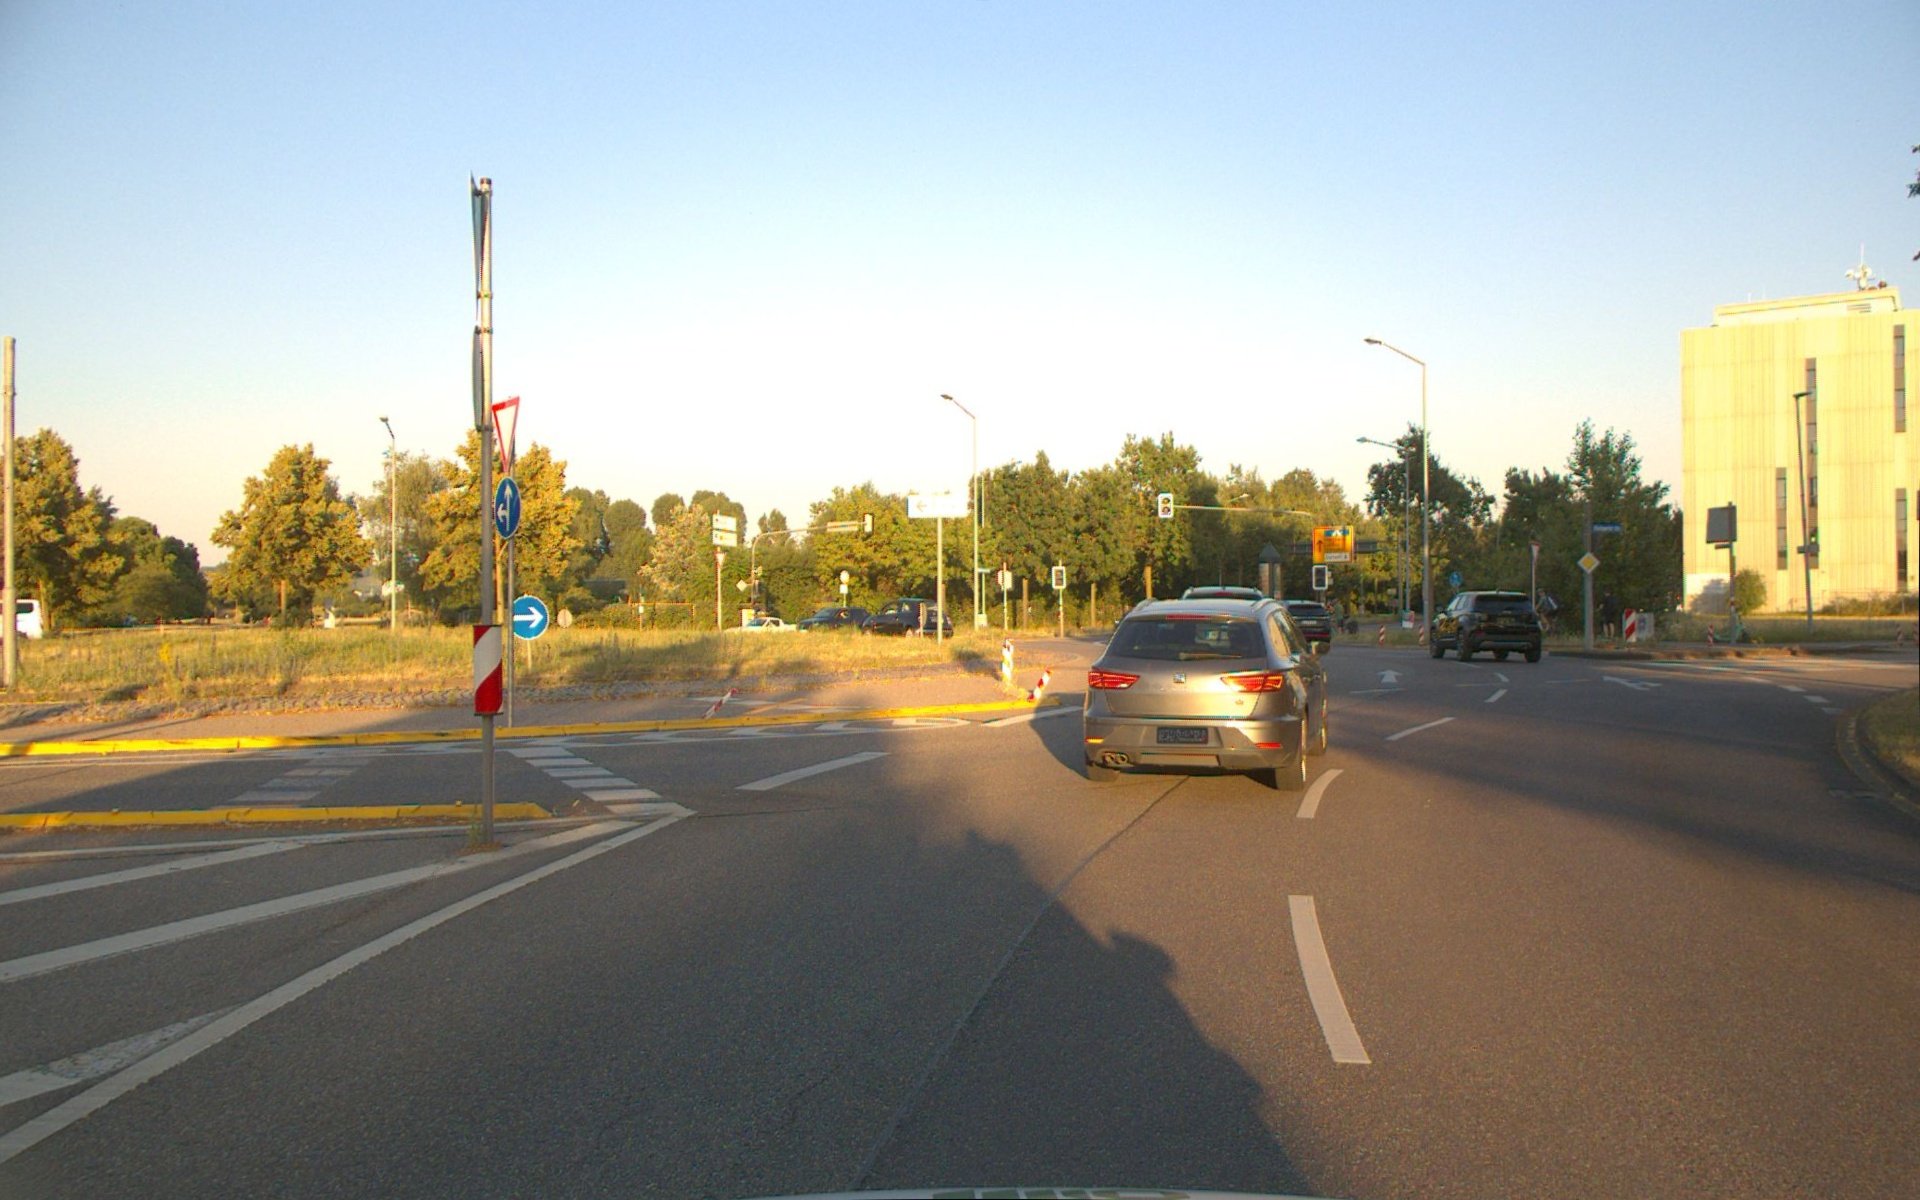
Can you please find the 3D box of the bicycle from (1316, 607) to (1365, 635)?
[{"bbox_3d":[15.955,0.882,69.382,1.885,1.104,0.456,-3,-2,28],"label":"bicycle"}]

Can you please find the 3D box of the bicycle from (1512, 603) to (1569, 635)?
[{"bbox_3d":[21.059,0.694,60.004,1.885,1.104,0.456,-2,-1,28],"label":"bicycle"}]

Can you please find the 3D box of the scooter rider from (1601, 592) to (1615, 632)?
[{"bbox_3d":[22.027,0.414,56.225,0.260,1.362,0.404,0,0,-17],"label":"scooter rider"}]

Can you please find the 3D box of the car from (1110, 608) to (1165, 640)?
[{"bbox_3d":[10.589,1.395,98.306,1.712,1.778,4.592,0,0,27],"label":"car"}]

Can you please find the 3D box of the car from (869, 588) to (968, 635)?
[{"bbox_3d":[-1.412,0.367,54.467,1.724,1.471,4.100,0,0,-26],"label":"car"}]

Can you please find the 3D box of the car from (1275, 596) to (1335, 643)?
[{"bbox_3d":[11.644,0.622,55.978,1.708,1.515,4.138,0,0,8],"label":"car"}]

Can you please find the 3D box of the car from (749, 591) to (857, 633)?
[{"bbox_3d":[-6.929,0.499,73.157,4.540,1.778,1.731,-1,0,-33],"label":"car"}]

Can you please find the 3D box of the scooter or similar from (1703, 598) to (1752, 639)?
[{"bbox_3d":[22.691,0.535,48.939,0.435,1.183,1.372,0,0,-24],"label":"scooter or similar"}]

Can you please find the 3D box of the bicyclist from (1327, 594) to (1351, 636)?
[{"bbox_3d":[15.898,0.624,69.381,0.753,1.732,0.640,-3,-2,27],"label":"bicyclist"}]

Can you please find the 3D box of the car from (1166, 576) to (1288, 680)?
[{"bbox_3d":[4.165,0.392,25.735,1.708,1.492,4.138,0,0,10],"label":"car"}]

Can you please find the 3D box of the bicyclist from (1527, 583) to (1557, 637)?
[{"bbox_3d":[21.135,0.363,60.060,0.889,1.931,0.640,-3,-1,27],"label":"bicyclist"}]

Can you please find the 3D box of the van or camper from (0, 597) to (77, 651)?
[{"bbox_3d":[-37.606,0.933,64.648,5.244,2.045,1.891,-1,0,-36],"label":"van or camper"}]

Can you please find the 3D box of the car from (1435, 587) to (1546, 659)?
[{"bbox_3d":[12.111,0.490,37.989,1.774,1.551,4.138,0,0,9],"label":"car"}]

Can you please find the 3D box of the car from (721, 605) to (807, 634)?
[{"bbox_3d":[-9.042,0.907,76.417,3.743,1.277,1.557,1,0,-39],"label":"car"}]

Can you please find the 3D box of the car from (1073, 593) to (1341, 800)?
[{"bbox_3d":[2.212,0.672,13.859,1.709,1.449,4.138,0,0,16],"label":"car"}]

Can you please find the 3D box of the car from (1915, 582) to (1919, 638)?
[{"bbox_3d":[29.669,0.264,47.137,4.010,1.586,1.885,0,-1,-13],"label":"car"}]
